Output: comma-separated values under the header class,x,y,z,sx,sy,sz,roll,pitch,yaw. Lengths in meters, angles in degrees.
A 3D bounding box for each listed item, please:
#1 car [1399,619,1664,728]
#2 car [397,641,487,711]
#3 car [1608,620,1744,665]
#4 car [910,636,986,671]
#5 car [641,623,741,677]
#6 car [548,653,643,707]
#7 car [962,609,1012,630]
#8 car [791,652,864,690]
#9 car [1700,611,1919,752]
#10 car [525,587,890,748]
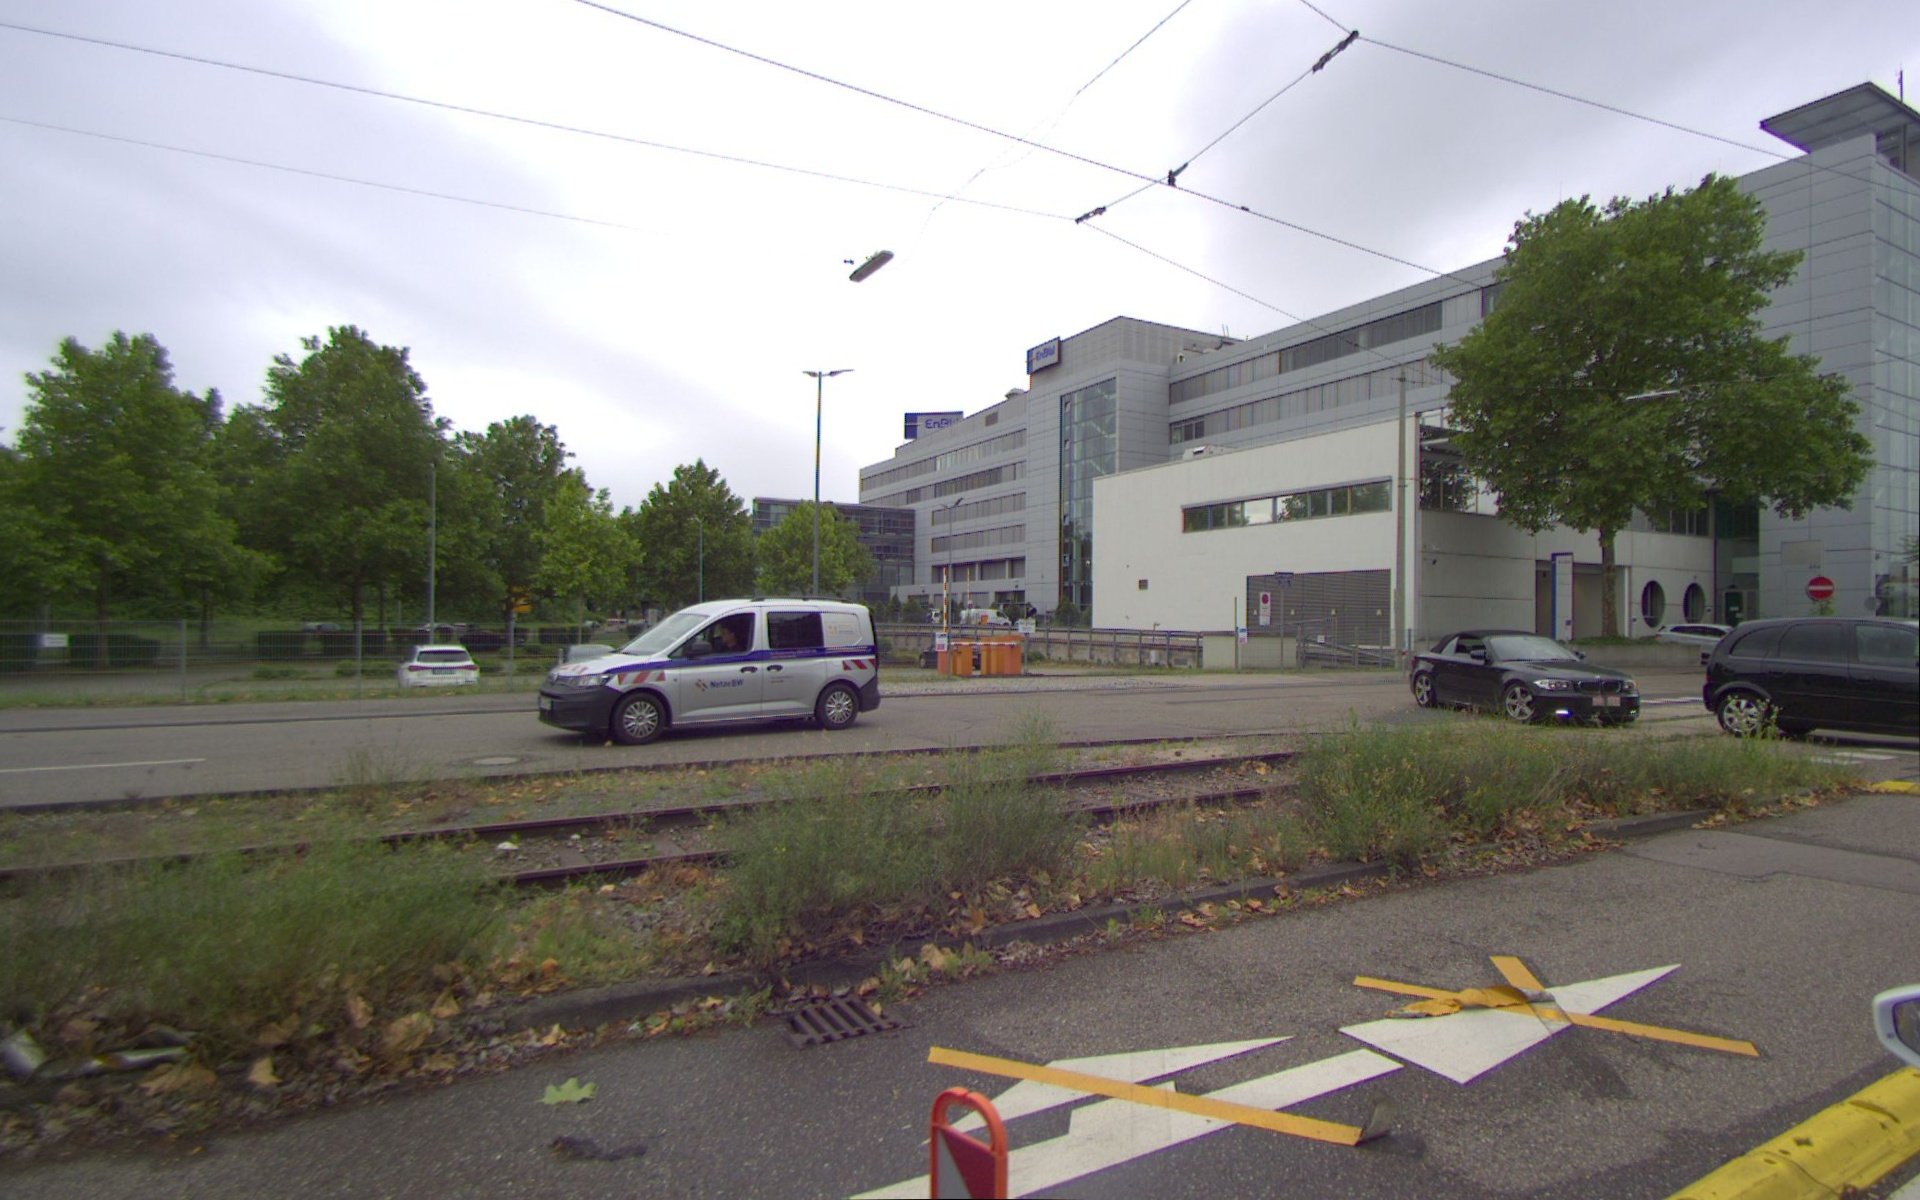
class,x,y,z,sx,sy,sz,roll,pitch,yaw
car,9.014,1.148,16.306,1.790,1.494,4.129,2,-3,-3
car,-14.089,1.972,27.185,1.891,1.655,4.504,1,-2,-31
car,31.321,1.822,44.068,1.805,1.692,4.488,2,0,-31
car,-0.617,2.493,47.290,1.891,1.505,3.967,1,-2,-31
car,-8.168,1.460,30.290,1.891,1.505,3.967,1,-2,-31
car,-10.628,2.269,29.137,1.891,1.332,3.967,1,-2,-31
car,2.725,1.982,100.660,4.593,2.040,1.986,1,-2,-28
car,-6.037,3.158,45.402,1.891,1.505,3.967,1,-2,-31
car,11.804,0.996,12.423,1.803,1.576,3.866,2,0,-29
car,-3.243,0.803,13.397,4.389,1.807,1.805,1,-1,-39
